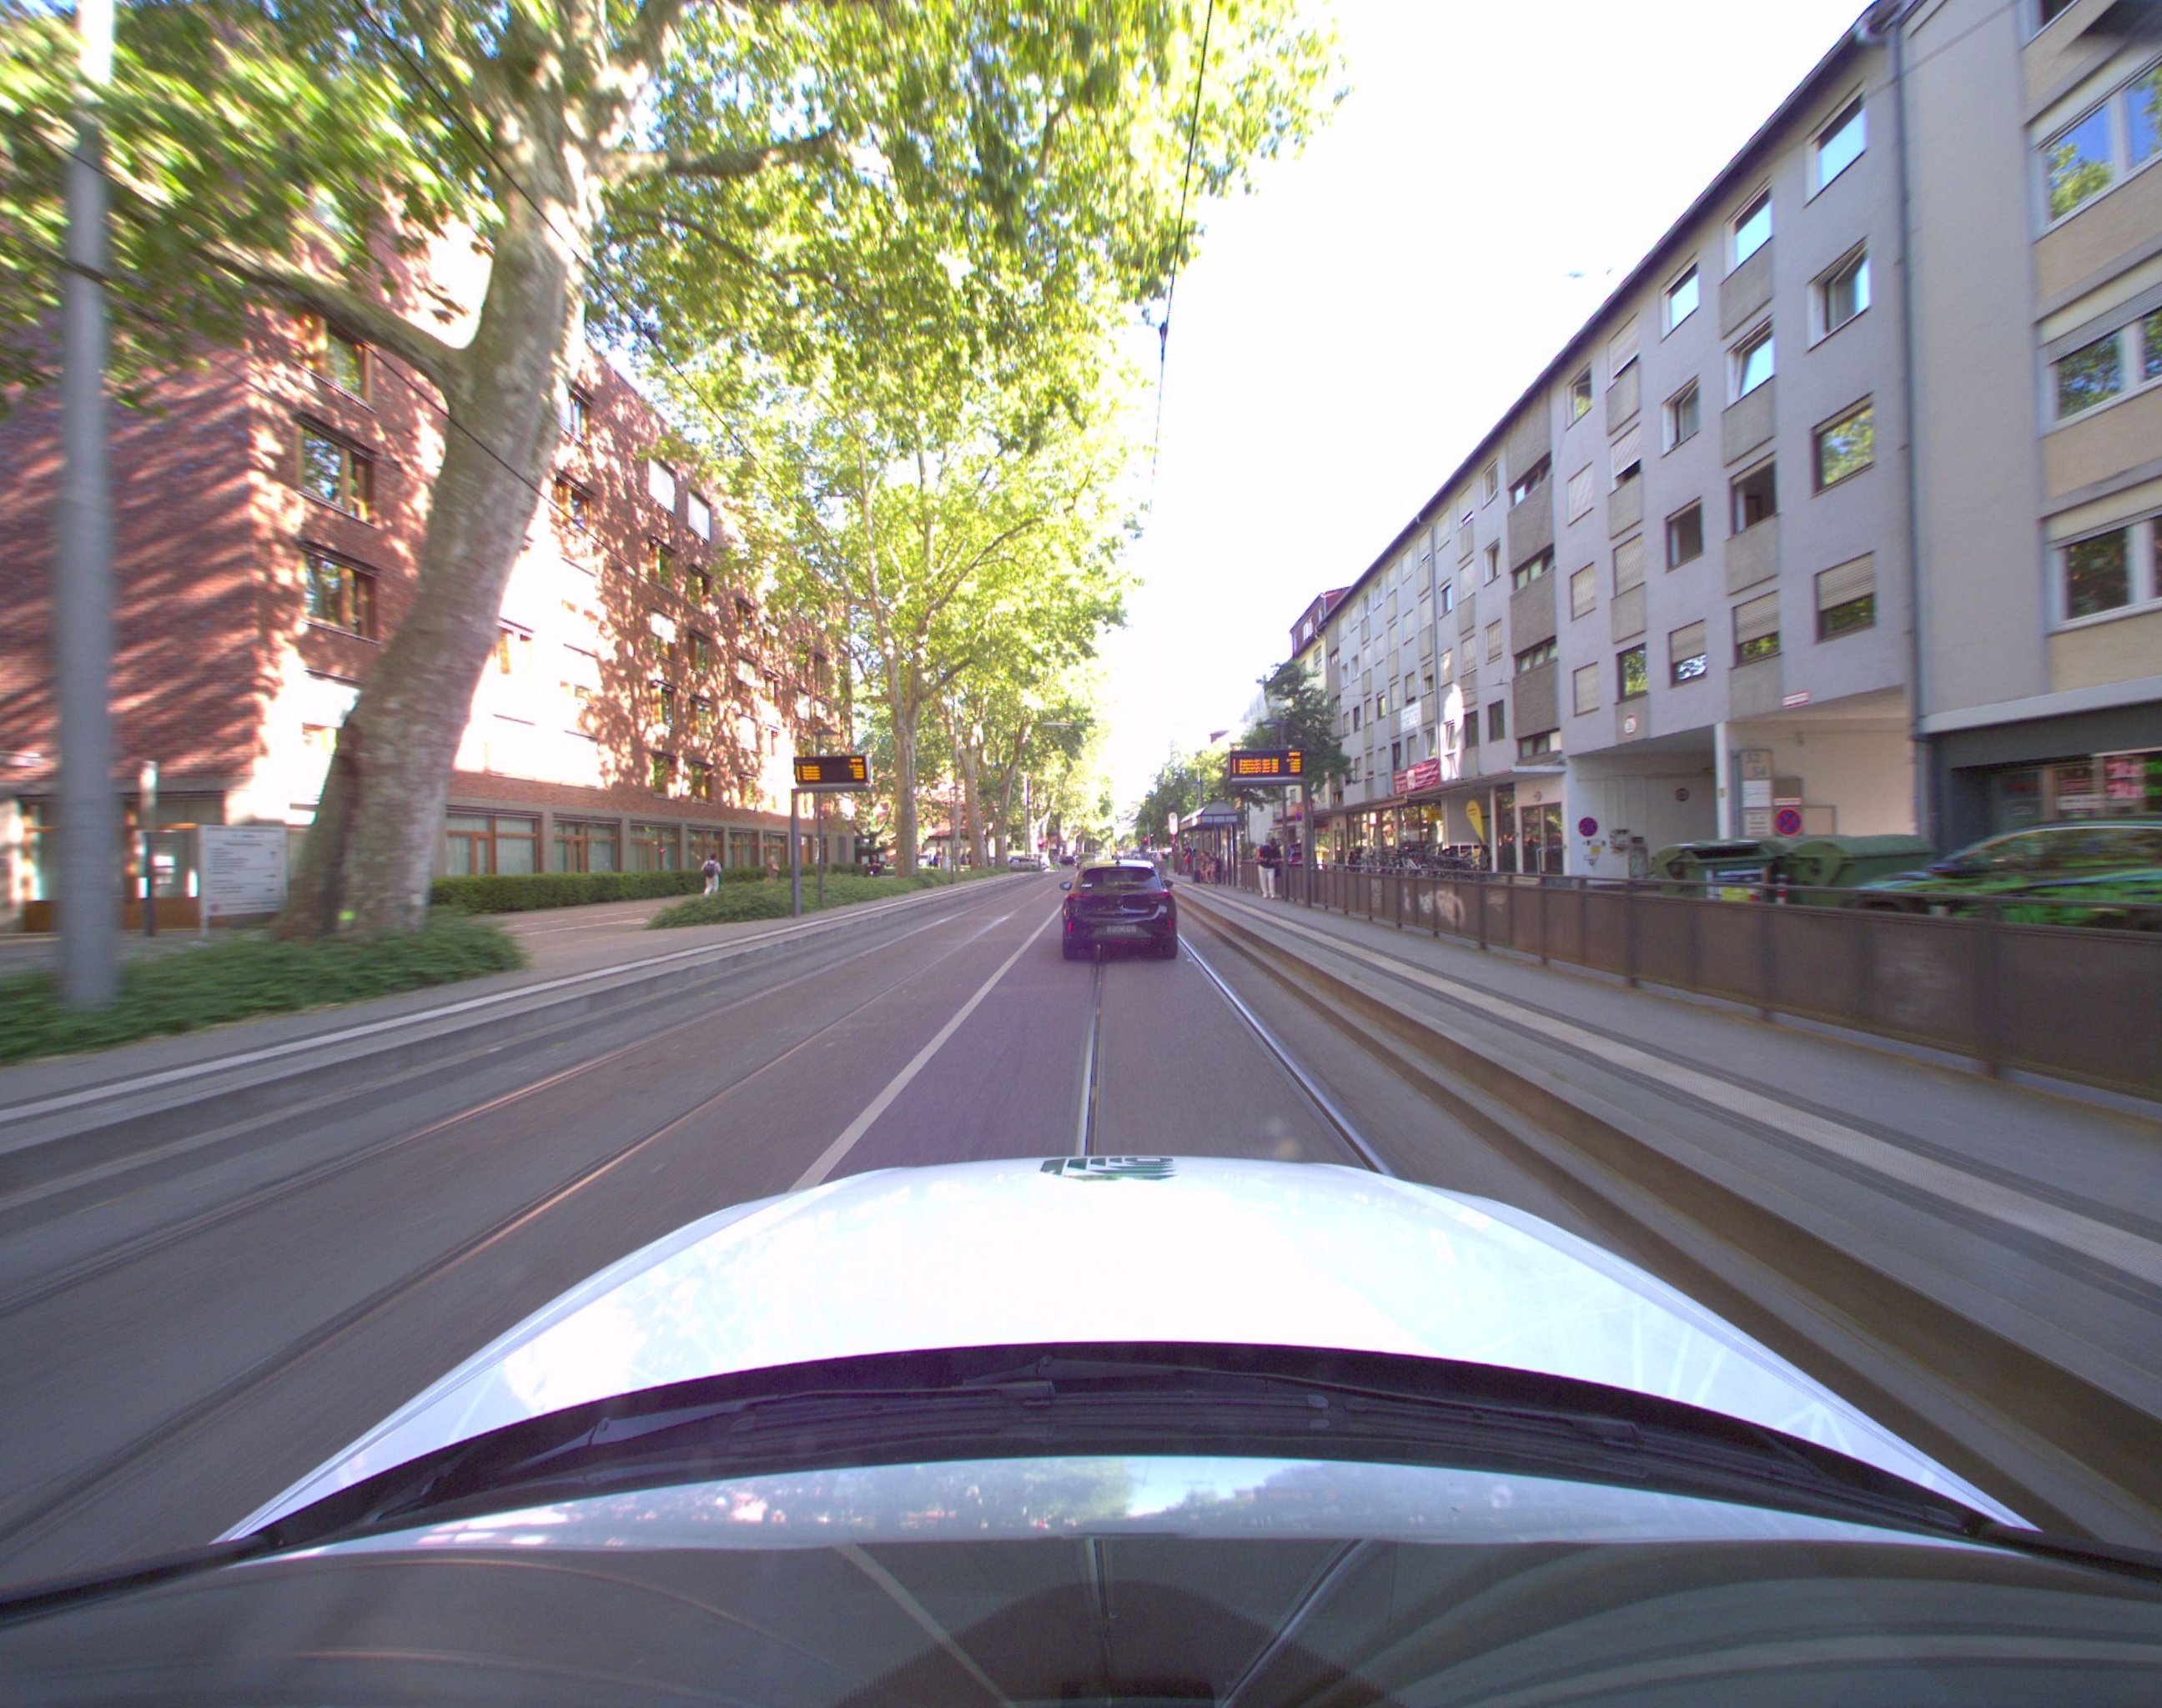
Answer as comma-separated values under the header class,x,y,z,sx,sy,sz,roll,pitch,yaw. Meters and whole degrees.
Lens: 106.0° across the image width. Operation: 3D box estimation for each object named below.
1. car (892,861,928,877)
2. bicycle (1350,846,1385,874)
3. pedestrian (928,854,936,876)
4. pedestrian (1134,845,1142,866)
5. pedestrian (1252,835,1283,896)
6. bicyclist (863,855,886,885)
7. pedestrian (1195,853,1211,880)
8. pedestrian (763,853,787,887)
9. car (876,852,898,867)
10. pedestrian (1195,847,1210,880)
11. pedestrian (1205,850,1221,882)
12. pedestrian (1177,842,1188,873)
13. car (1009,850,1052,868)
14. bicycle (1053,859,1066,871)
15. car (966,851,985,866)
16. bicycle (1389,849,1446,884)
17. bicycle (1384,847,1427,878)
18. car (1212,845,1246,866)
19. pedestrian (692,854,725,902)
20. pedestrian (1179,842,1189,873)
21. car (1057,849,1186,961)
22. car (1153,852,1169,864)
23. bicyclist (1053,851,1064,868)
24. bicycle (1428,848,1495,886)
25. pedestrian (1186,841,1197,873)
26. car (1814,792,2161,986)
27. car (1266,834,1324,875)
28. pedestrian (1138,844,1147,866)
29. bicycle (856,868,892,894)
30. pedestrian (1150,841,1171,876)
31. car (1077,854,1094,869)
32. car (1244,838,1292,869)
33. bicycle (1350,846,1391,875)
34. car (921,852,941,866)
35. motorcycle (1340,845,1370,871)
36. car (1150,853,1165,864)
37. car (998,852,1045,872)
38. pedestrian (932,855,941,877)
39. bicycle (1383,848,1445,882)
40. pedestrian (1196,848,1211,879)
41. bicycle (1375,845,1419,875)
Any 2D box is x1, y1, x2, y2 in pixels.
class,x,y,z,sx,sy,sz,roll,pitch,yaw
car,-22.745,2.006,108.279,4.234,2.014,2.001,-1,-1,1
bicycle,12.104,0.265,34.486,0.596,1.136,2.201,0,0,-4
pedestrian,-13.598,1.012,74.220,0.670,1.950,0.498,1,0,-2
pedestrian,5.327,0.149,76.441,0.671,2.013,0.703,1,0,8
pedestrian,4.966,0.296,21.736,0.628,1.576,0.871,1,0,2
bicyclist,-10.463,0.804,41.288,0.951,1.491,0.838,-1,-1,1
pedestrian,4.898,0.504,32.747,0.533,1.099,0.550,0,-1,-3
pedestrian,-14.968,0.783,39.864,0.772,1.605,0.946,-1,-1,2
car,-27.617,0.774,116.062,1.986,2.014,4.002,-1,0,2
pedestrian,4.962,0.383,33.260,0.501,1.304,0.428,0,-1,-3
pedestrian,5.221,0.470,32.205,0.533,1.230,0.510,0,-1,-3
pedestrian,5.609,0.179,44.884,0.529,1.709,0.753,-1,-1,4
car,-5.180,0.520,83.668,4.378,1.851,1.996,0,-1,-6
bicycle,-2.133,1.080,81.376,0.950,1.240,2.981,-1,0,5
car,-15.100,0.661,116.610,1.986,2.014,4.002,-1,0,2
bicycle,11.419,0.403,27.718,0.602,1.136,2.427,0,0,-9
bicycle,12.133,0.316,30.537,0.410,1.136,2.197,0,-1,-9
car,11.022,0.126,60.899,1.986,1.486,4.002,-1,0,2
pedestrian,-13.209,0.840,28.899,0.732,1.672,0.861,-1,-1,2
pedestrian,5.855,0.192,46.260,0.529,1.709,0.596,-1,-1,4
car,0.556,0.718,13.164,1.754,1.508,3.682,-2,0,0
car,11.098,0.608,112.910,1.986,1.632,4.002,-1,0,2
bicyclist,-2.200,0.554,80.628,0.936,1.703,1.154,-1,-1,5
bicycle,11.751,0.398,25.279,0.621,1.136,2.431,0,0,-9
pedestrian,6.182,0.157,45.577,0.529,1.763,0.662,-1,-1,4
car,9.970,0.289,7.900,1.850,1.615,4.399,-1,0,2
car,10.942,0.040,41.850,1.986,1.952,4.001,-1,0,1
pedestrian,5.675,0.118,75.480,0.670,2.013,0.704,1,0,13
bicycle,-10.468,1.347,41.275,0.951,1.240,2.979,-1,0,2
pedestrian,3.971,0.216,40.648,0.742,1.709,0.768,-1,-1,36
car,0.512,0.813,88.234,1.739,1.544,3.999,-1,0,0
car,11.125,-0.011,48.664,1.986,1.797,4.001,-1,0,1
bicycle,11.717,0.257,33.014,0.597,1.136,2.197,0,-1,-9
car,-21.274,0.698,115.966,1.986,2.014,4.002,-1,0,2
motorcycle,14.294,0.206,42.523,0.888,1.280,2.044,-1,-1,2
car,11.197,0.653,119.196,1.986,1.632,4.002,-1,0,2
car,-5.314,0.718,72.885,4.108,1.701,1.880,0,-1,-6
pedestrian,-13.005,1.056,73.324,0.670,1.950,0.498,1,0,-2
bicycle,11.824,0.386,29.039,0.611,1.136,2.912,0,0,-9
pedestrian,5.075,0.395,33.793,0.533,1.304,0.550,0,-1,-3
bicycle,12.390,0.244,31.990,0.597,1.136,2.197,0,-1,-9
